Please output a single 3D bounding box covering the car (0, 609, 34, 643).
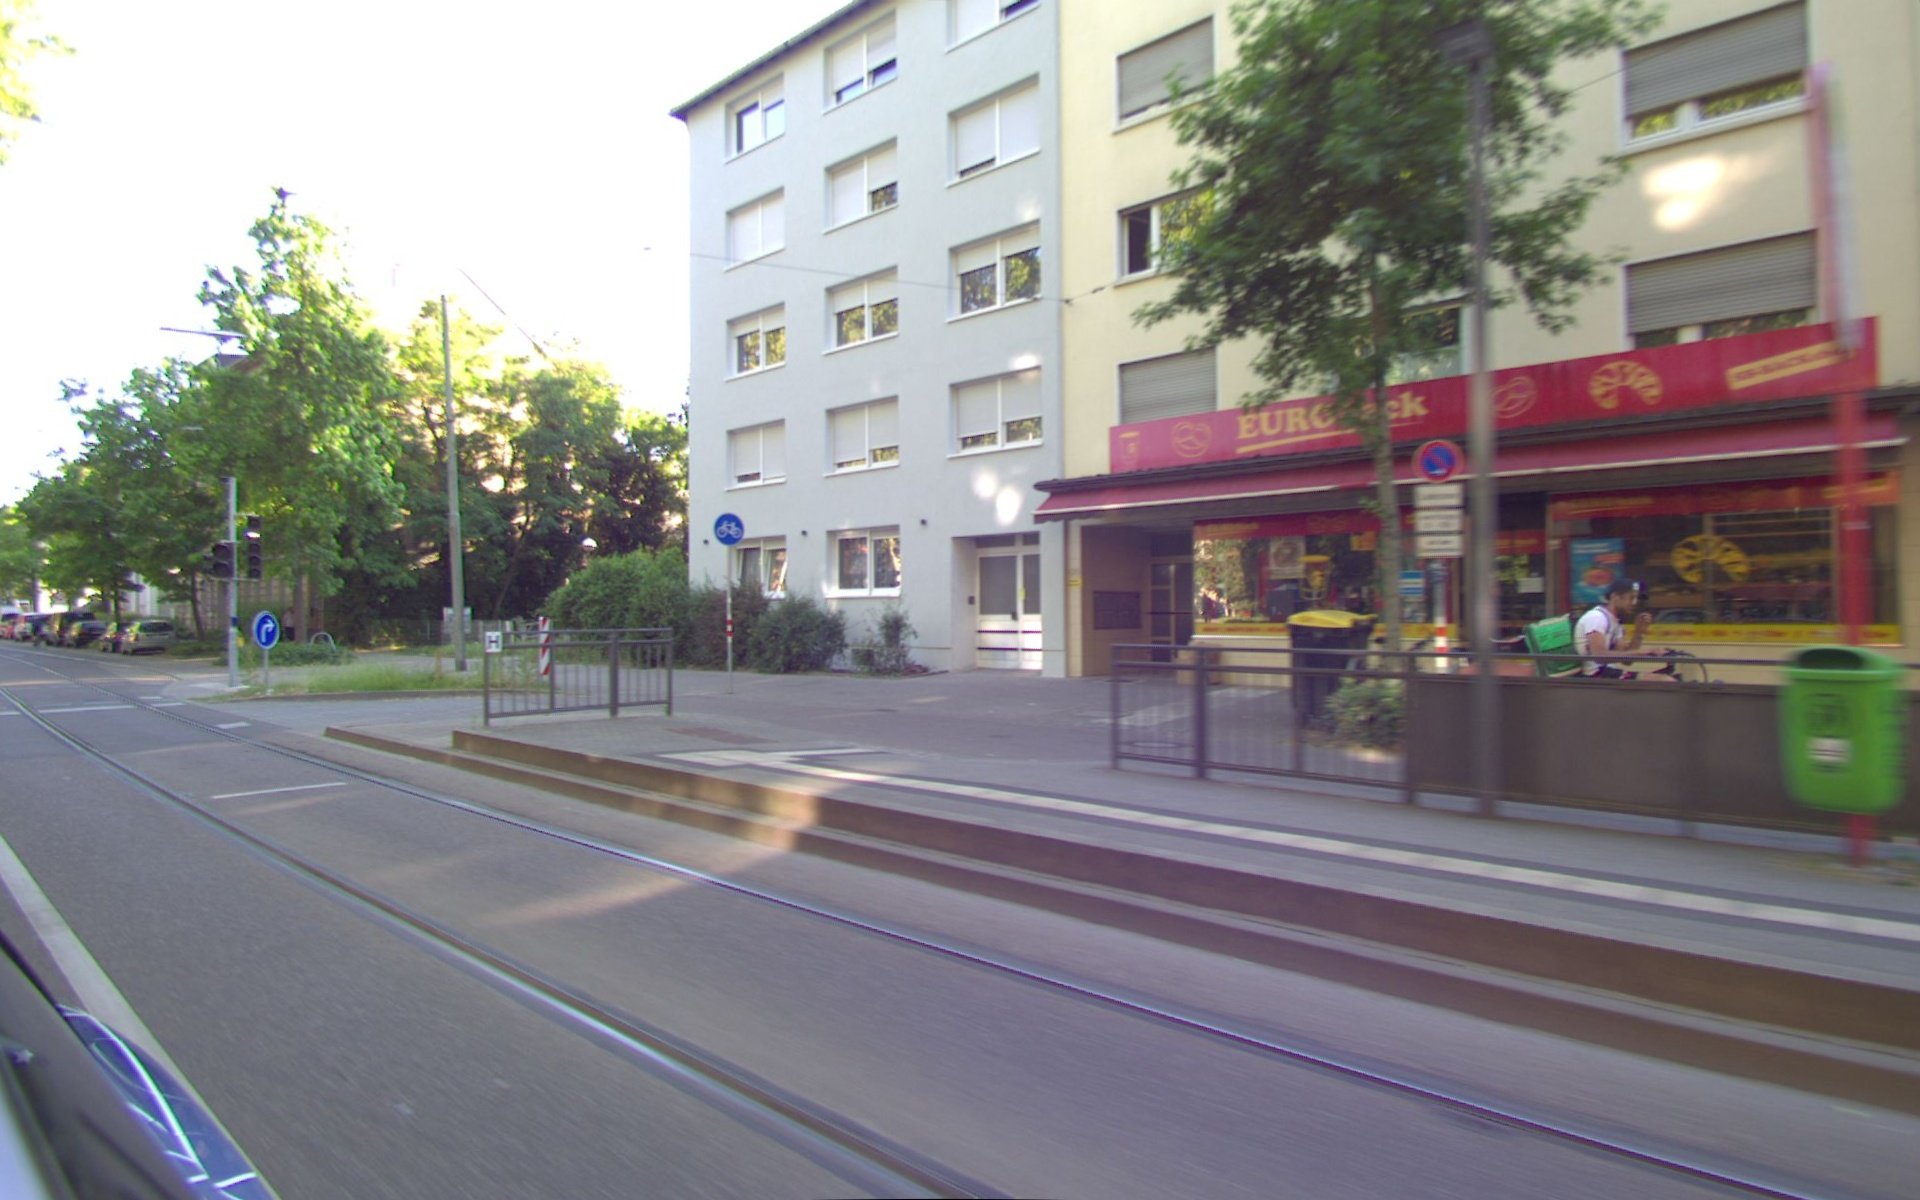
[{"bbox_3d":[-73.285,1.974,77.876,5.339,2.527,2.281,-1,-2,40],"label":"car"}]

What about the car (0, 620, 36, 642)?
[{"bbox_3d":[-69.273,2.258,74.296,3.705,1.551,1.667,-1,-2,41],"label":"car"}]

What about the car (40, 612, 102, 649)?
[{"bbox_3d":[-50.965,1.745,58.006,4.830,2.029,1.973,-1,-2,40],"label":"car"}]

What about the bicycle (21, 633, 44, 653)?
[{"bbox_3d":[-48.203,2.245,52.604,2.099,0.994,0.634,-1,-2,41],"label":"bicycle"}]

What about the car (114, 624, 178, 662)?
[{"bbox_3d":[-35.774,1.845,44.449,4.537,1.562,1.680,-2,-1,44],"label":"car"}]

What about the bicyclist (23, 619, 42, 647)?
[{"bbox_3d":[-48.344,1.718,52.745,0.836,1.466,0.634,-1,-2,40],"label":"bicyclist"}]

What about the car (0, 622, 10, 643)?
[{"bbox_3d":[-79.986,2.687,83.609,4.262,1.703,1.970,-2,-2,44],"label":"car"}]

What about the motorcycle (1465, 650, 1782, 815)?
[{"bbox_3d":[4.815,0.903,7.445,1.877,1.040,0.589,-1,-4,42],"label":"motorcycle"}]

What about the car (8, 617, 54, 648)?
[{"bbox_3d":[-62.072,2.162,67.588,4.987,2.004,1.824,-2,-2,42],"label":"car"}]

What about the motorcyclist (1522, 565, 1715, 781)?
[{"bbox_3d":[4.838,0.517,7.462,1.103,1.460,0.589,-1,-4,42],"label":"motorcyclist"}]

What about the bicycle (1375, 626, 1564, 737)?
[{"bbox_3d":[5.634,0.867,11.260,1.798,1.116,0.494,-1,2,39],"label":"bicycle"}]

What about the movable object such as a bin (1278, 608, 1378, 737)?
[{"bbox_3d":[4.343,0.816,11.908,0.782,1.358,1.159,-1,2,37],"label":"movable object such as a bin"}]

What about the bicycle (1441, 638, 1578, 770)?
[{"bbox_3d":[5.481,0.976,10.052,0.885,1.083,1.518,-2,1,40],"label":"bicycle"}]

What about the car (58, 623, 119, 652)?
[{"bbox_3d":[-47.227,2.013,54.835,4.267,1.469,1.834,-1,-2,40],"label":"car"}]

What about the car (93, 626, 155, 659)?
[{"bbox_3d":[-39.369,1.965,47.628,3.947,1.456,1.641,-2,-1,41],"label":"car"}]

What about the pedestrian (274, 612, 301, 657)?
[{"bbox_3d":[-28.717,1.464,43.212,0.728,1.861,0.734,-2,0,39],"label":"pedestrian"}]
